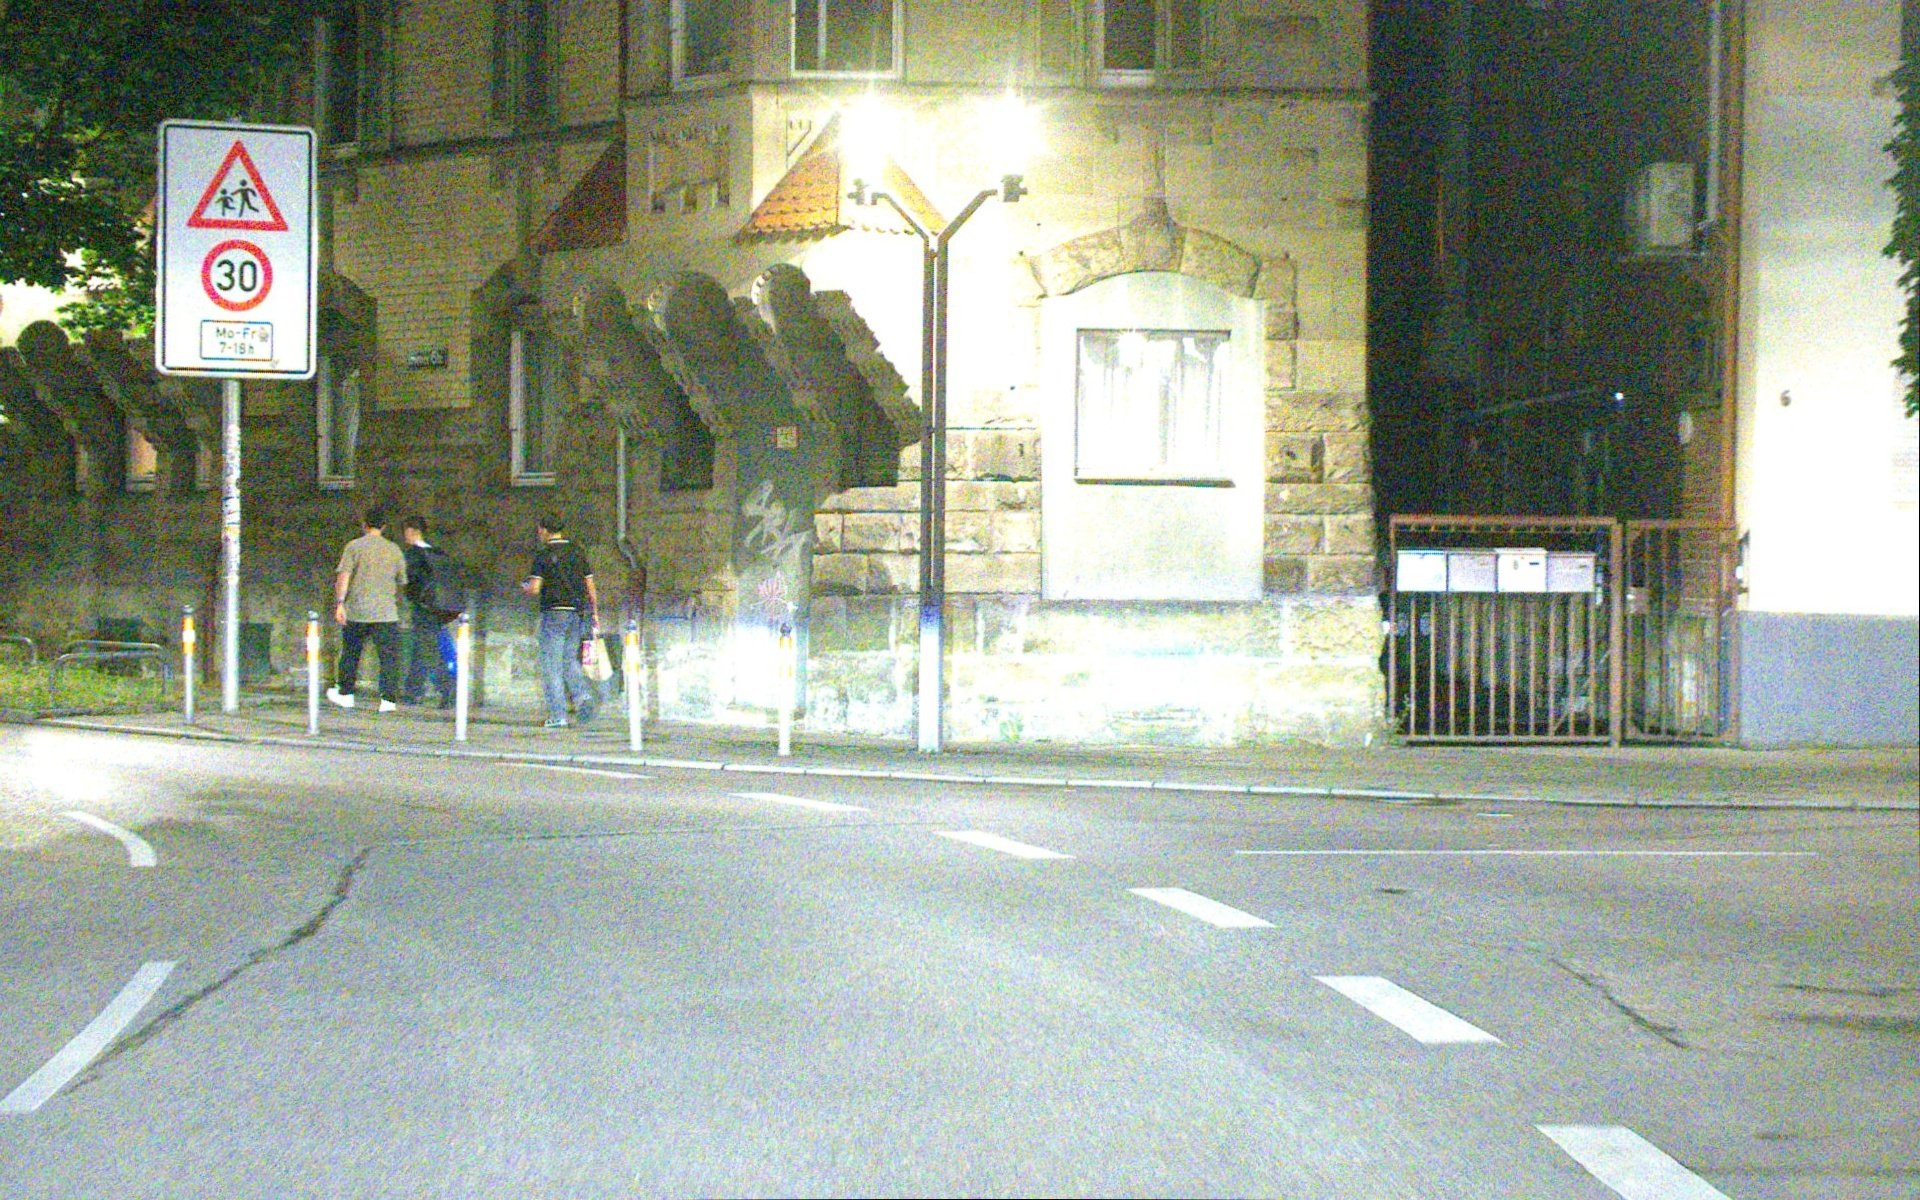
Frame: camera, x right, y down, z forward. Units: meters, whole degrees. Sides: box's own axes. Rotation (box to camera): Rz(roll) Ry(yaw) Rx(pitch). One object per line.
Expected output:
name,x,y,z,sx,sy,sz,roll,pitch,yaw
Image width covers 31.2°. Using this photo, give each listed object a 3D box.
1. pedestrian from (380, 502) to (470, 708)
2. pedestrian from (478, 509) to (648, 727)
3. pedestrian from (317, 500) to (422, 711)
pedestrian,-4.493,0.039,28.882,0.570,1.703,0.477,2,2,43
pedestrian,-3.046,0.132,26.396,0.965,1.625,0.808,2,0,33
pedestrian,-4.844,0.038,28.208,0.704,1.703,0.507,2,2,43
